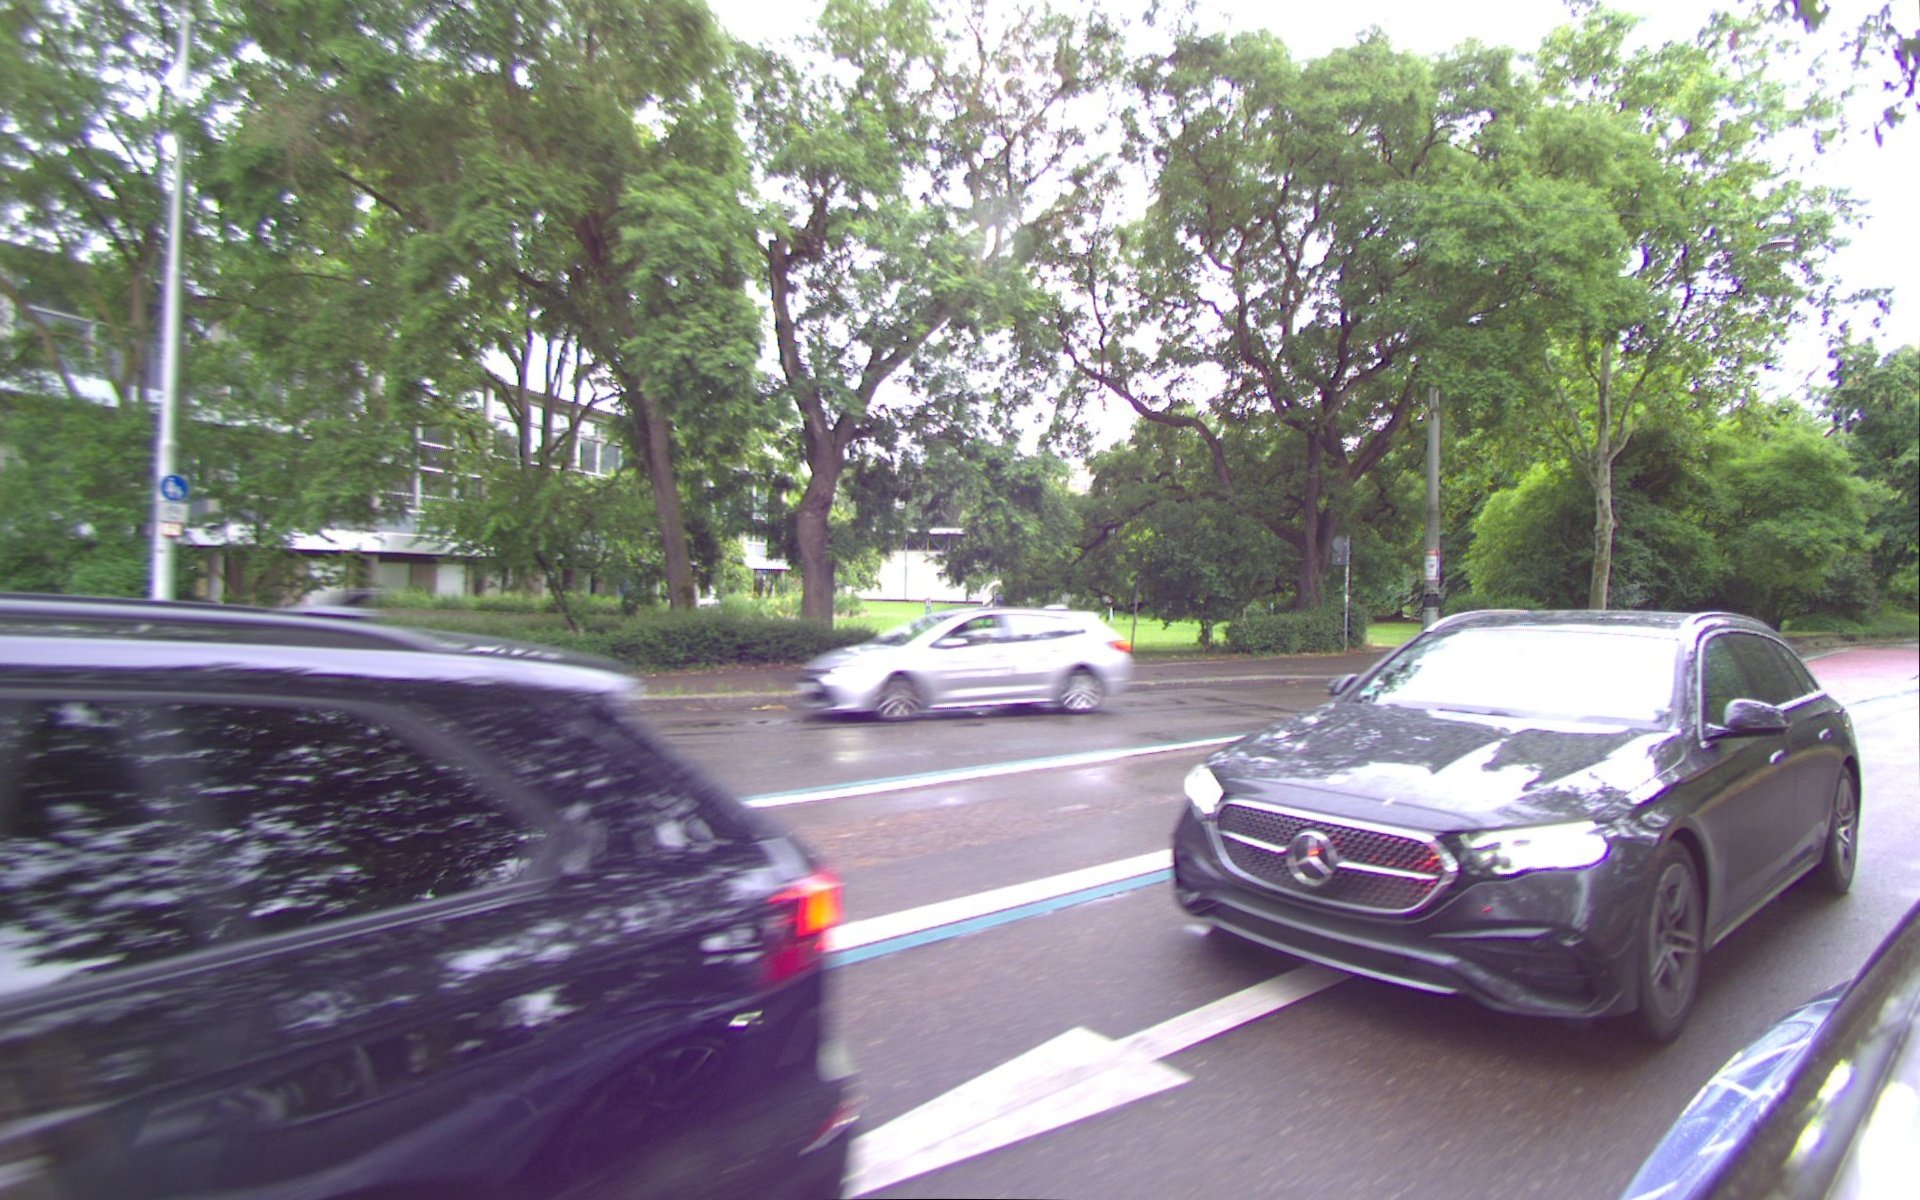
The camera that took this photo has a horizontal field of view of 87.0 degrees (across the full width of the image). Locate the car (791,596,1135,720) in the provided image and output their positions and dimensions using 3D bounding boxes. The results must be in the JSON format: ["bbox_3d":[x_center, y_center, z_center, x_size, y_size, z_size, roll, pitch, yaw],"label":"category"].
[{"bbox_3d":[0.052,0.712,13.846,4.312,1.468,1.871,1,0,-25],"label":"car"}]

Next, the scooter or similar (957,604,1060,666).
[{"bbox_3d":[0.934,0.672,19.539,1.851,1.114,0.559,2,2,-19],"label":"scooter or similar"}]

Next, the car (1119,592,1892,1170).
[{"bbox_3d":[3.020,0.726,4.929,4.847,1.464,1.881,0,-1,-43],"label":"car"}]

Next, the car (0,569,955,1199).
[{"bbox_3d":[-2.197,0.682,0.983,4.436,1.484,1.672,1,0,-43],"label":"car"}]
